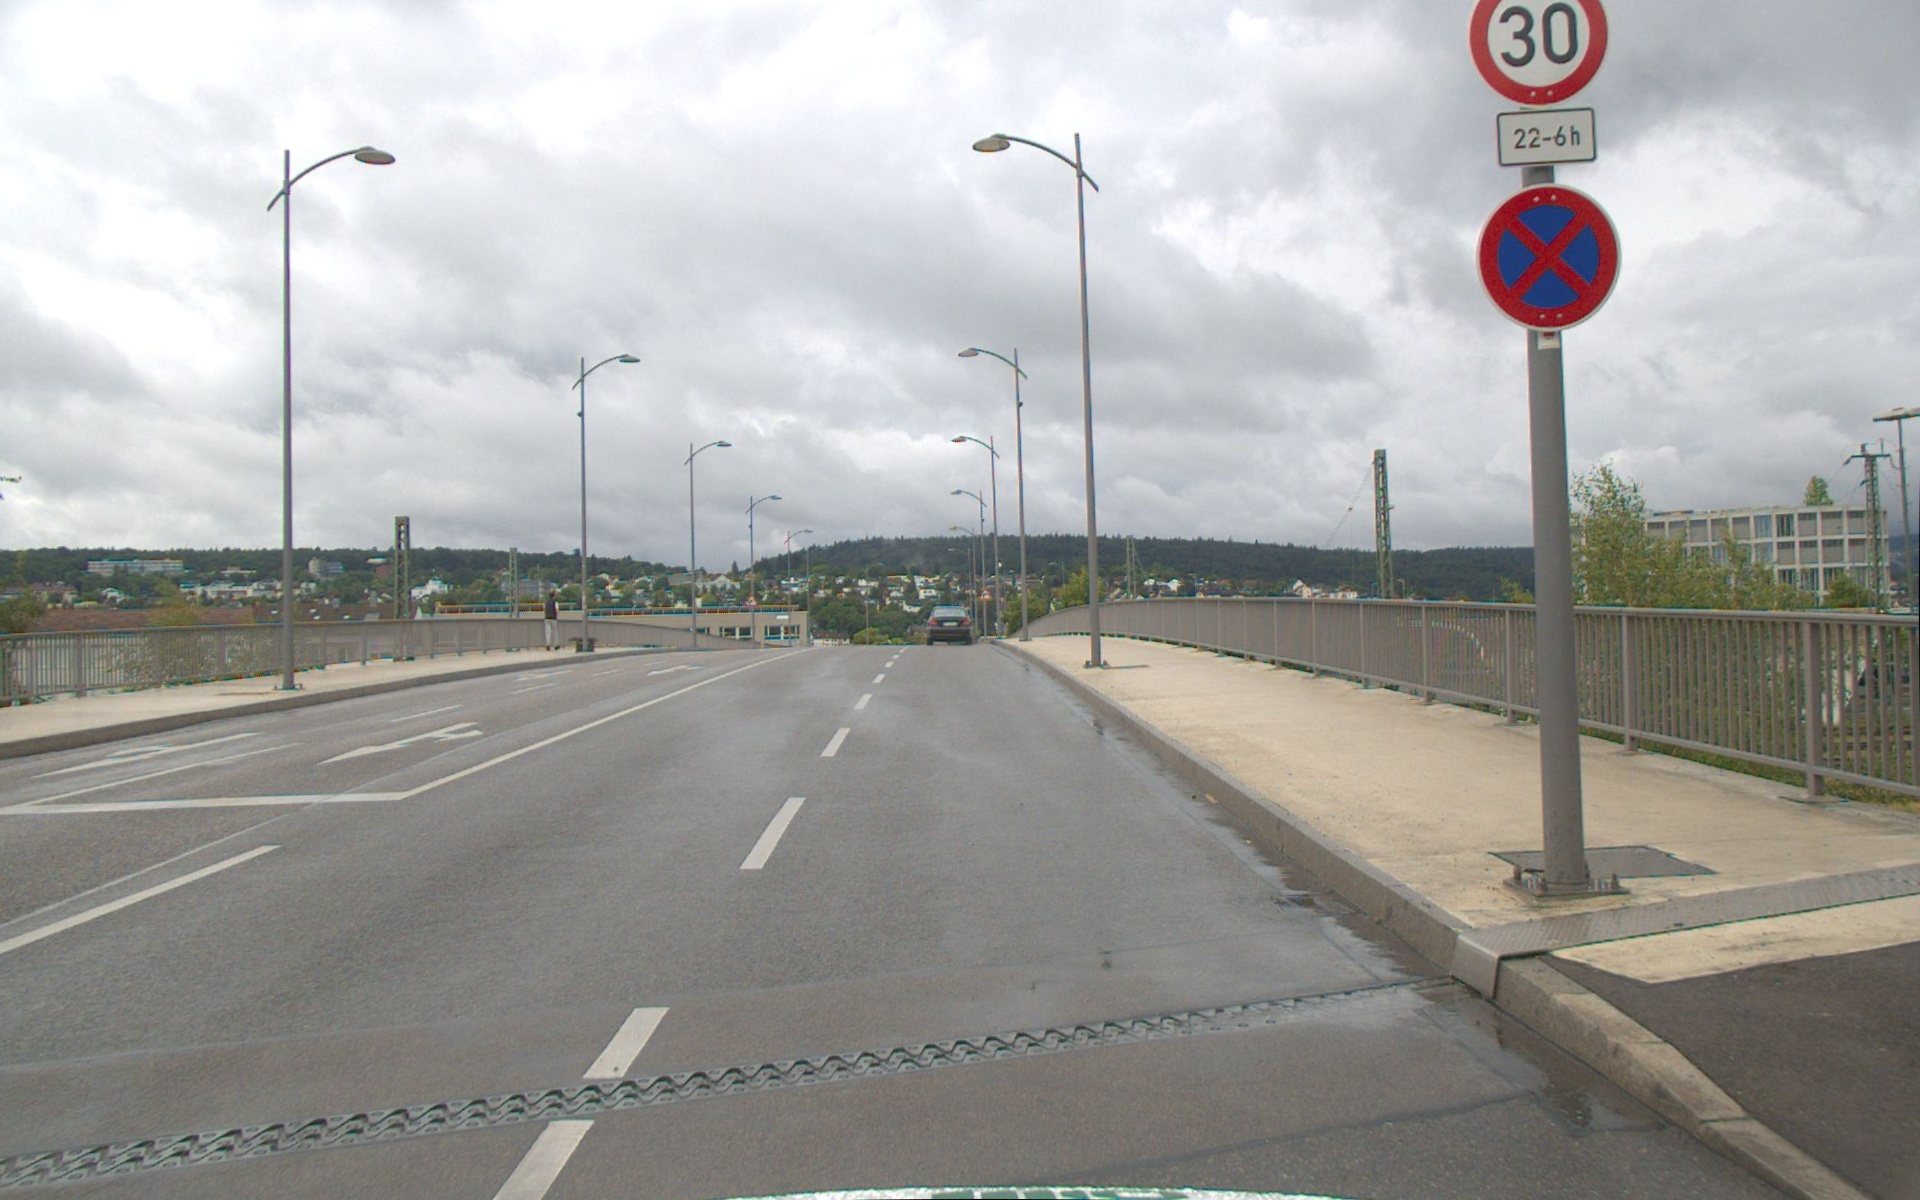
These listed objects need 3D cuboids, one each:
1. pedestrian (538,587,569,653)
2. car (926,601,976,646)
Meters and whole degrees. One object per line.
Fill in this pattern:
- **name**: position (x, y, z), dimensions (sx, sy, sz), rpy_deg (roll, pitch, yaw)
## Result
- **pedestrian**: position (-13.118, 0.640, 53.378), dimensions (0.741, 2.084, 0.891), rpy_deg (-2, -3, -1)
- **car**: position (-0.344, 0.891, 60.750), dimensions (1.718, 1.505, 3.999), rpy_deg (-2, -2, -1)
